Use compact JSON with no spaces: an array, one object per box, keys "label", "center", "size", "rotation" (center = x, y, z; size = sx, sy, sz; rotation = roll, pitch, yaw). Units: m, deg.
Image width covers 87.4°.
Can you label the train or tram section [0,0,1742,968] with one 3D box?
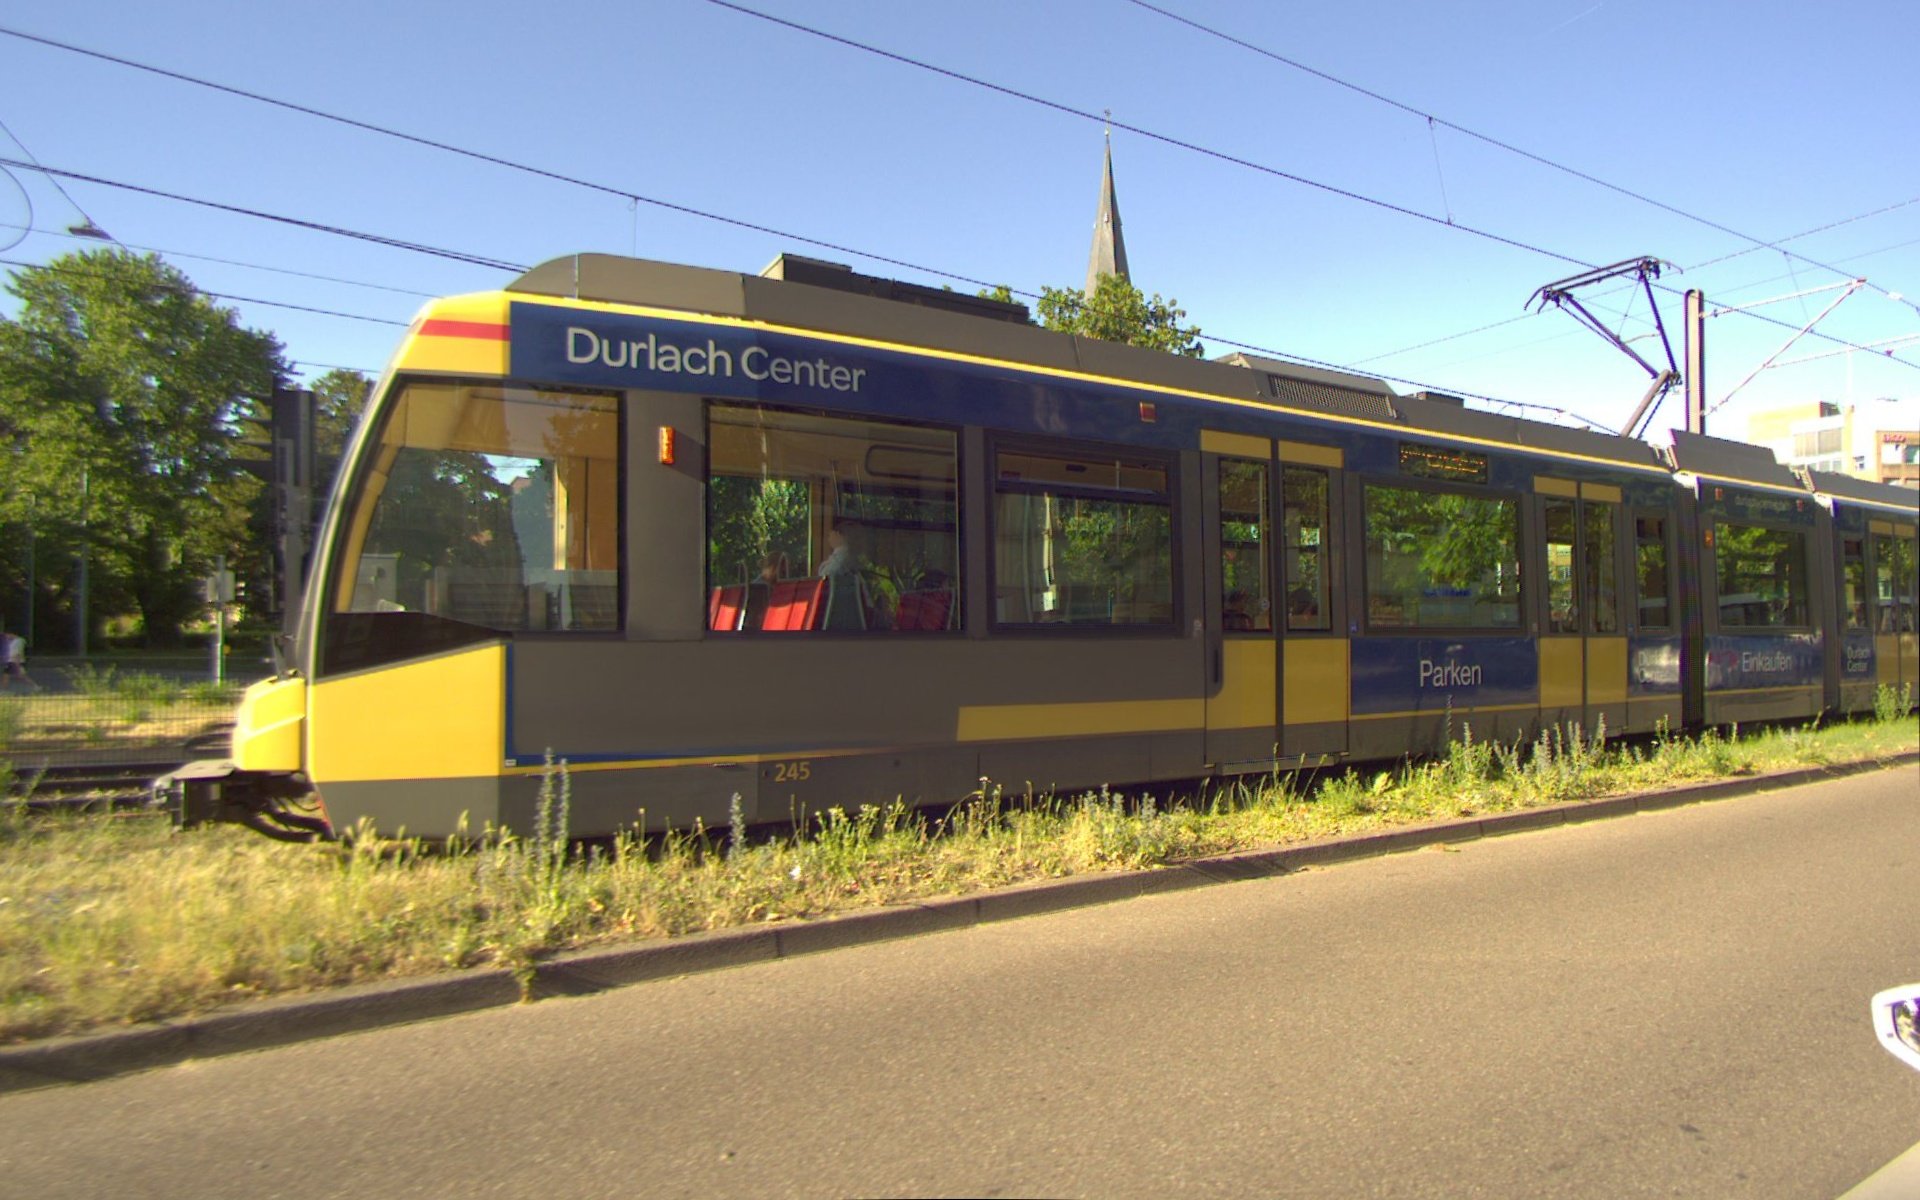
[{"label":"train or tram section","center":[1.703,-0.414,8.667],"size":[14.105,3.863,2.915],"rotation":[1,0,-30]}]

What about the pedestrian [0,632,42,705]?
[{"label":"pedestrian","center":[-24.193,1.738,25.688],"size":[0.747,1.797,0.921],"rotation":[1,0,38]}]

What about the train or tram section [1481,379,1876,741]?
[{"label":"train or tram section","center":[9.405,-0.408,13.229],"size":[3.821,3.949,2.940],"rotation":[1,0,-31]}]

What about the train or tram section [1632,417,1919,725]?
[{"label":"train or tram section","center":[15.686,-0.289,16.863],"size":[10.675,3.949,2.938],"rotation":[1,0,-30]}]
